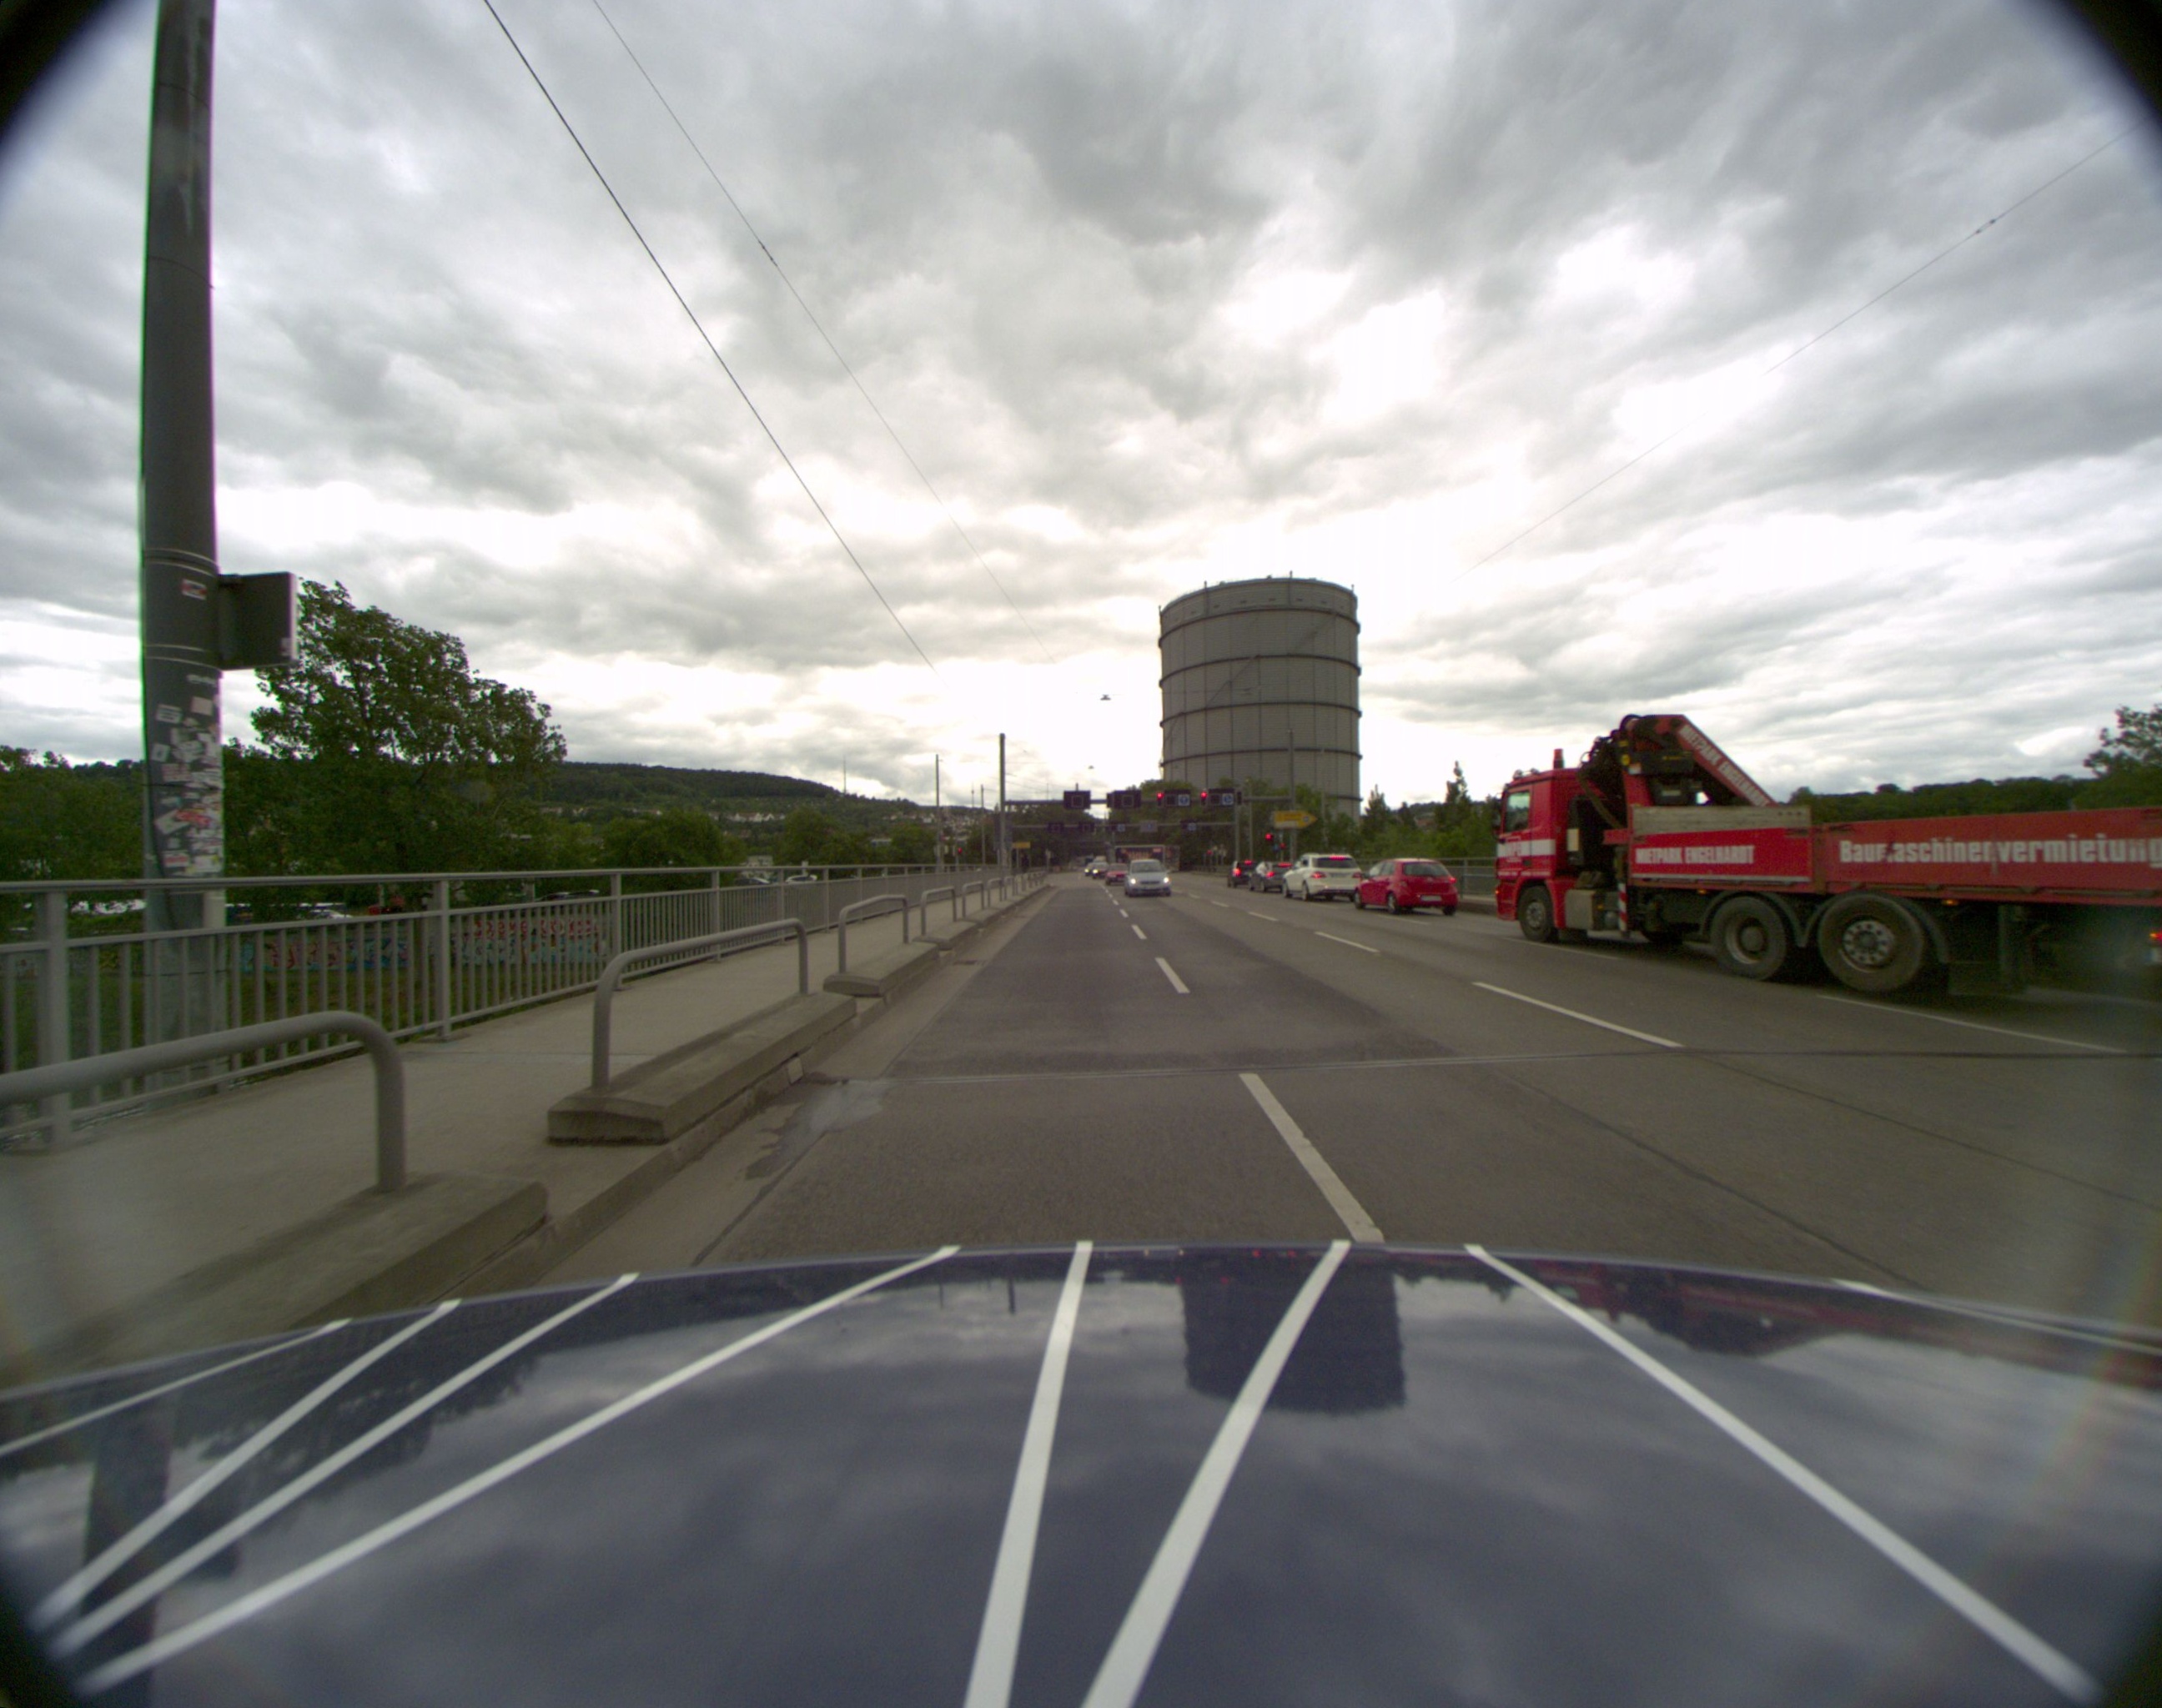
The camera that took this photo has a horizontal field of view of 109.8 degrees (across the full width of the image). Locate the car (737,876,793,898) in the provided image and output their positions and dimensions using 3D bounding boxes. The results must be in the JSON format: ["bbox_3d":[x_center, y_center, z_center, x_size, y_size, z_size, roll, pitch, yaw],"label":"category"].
[{"bbox_3d":[-26.019,2.734,62.625,3.757,1.531,1.695,-3,1,-1],"label":"car"}]

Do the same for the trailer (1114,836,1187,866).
[{"bbox_3d":[10.331,-0.490,115.404,3.678,4.296,13.748,2,0,-30],"label":"trailer"}]

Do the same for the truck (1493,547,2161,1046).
[{"bbox_3d":[9.204,-0.392,9.238,3.013,3.545,9.982,0,0,0],"label":"truck"}]

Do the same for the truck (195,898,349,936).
[{"bbox_3d":[-95.348,7.419,89.685,14.418,3.893,3.381,1,0,0],"label":"truck"}]

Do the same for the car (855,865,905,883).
[{"bbox_3d":[-17.433,1.748,66.001,3.762,1.306,1.790,-3,1,-1],"label":"car"}]

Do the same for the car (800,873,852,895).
[{"bbox_3d":[-21.059,2.464,62.814,3.621,1.531,1.695,-3,1,-1],"label":"car"}]

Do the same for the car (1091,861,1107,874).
[{"bbox_3d":[2.005,1.507,85.008,1.696,1.411,4.468,1,0,1],"label":"car"}]

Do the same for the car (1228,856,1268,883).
[{"bbox_3d":[9.731,0.886,44.489,1.839,1.495,3.873,0,0,6],"label":"car"}]

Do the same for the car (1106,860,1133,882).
[{"bbox_3d":[2.580,1.138,51.485,1.747,1.454,3.956,0,0,2],"label":"car"}]

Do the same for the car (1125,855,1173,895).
[{"bbox_3d":[2.874,0.866,32.822,1.747,1.594,3.682,-1,0,0],"label":"car"}]

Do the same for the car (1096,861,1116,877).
[{"bbox_3d":[2.319,1.397,71.088,1.696,1.411,4.468,-1,0,1],"label":"car"}]

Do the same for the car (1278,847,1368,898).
[{"bbox_3d":[9.009,0.657,28.682,1.884,1.751,4.802,0,0,0],"label":"car"}]

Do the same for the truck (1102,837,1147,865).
[{"bbox_3d":[6.918,-0.533,121.682,3.678,4.296,7.217,2,0,-30],"label":"truck"}]

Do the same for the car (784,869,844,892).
[{"bbox_3d":[-23.032,2.263,65.589,4.339,1.610,1.999,-3,1,0],"label":"car"}]

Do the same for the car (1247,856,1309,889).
[{"bbox_3d":[9.382,0.855,36.539,1.840,1.495,4.517,0,0,0],"label":"car"}]

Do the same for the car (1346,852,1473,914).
[{"bbox_3d":[9.128,0.756,21.491,1.884,1.593,4.015,0,0,0],"label":"car"}]

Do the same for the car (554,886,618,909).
[{"bbox_3d":[-40.372,3.539,62.049,4.045,1.531,1.695,-3,1,-1],"label":"car"}]

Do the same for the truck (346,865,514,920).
[{"bbox_3d":[-52.554,3.054,61.556,10.423,3.856,3.226,-2,0,-3],"label":"truck"}]
